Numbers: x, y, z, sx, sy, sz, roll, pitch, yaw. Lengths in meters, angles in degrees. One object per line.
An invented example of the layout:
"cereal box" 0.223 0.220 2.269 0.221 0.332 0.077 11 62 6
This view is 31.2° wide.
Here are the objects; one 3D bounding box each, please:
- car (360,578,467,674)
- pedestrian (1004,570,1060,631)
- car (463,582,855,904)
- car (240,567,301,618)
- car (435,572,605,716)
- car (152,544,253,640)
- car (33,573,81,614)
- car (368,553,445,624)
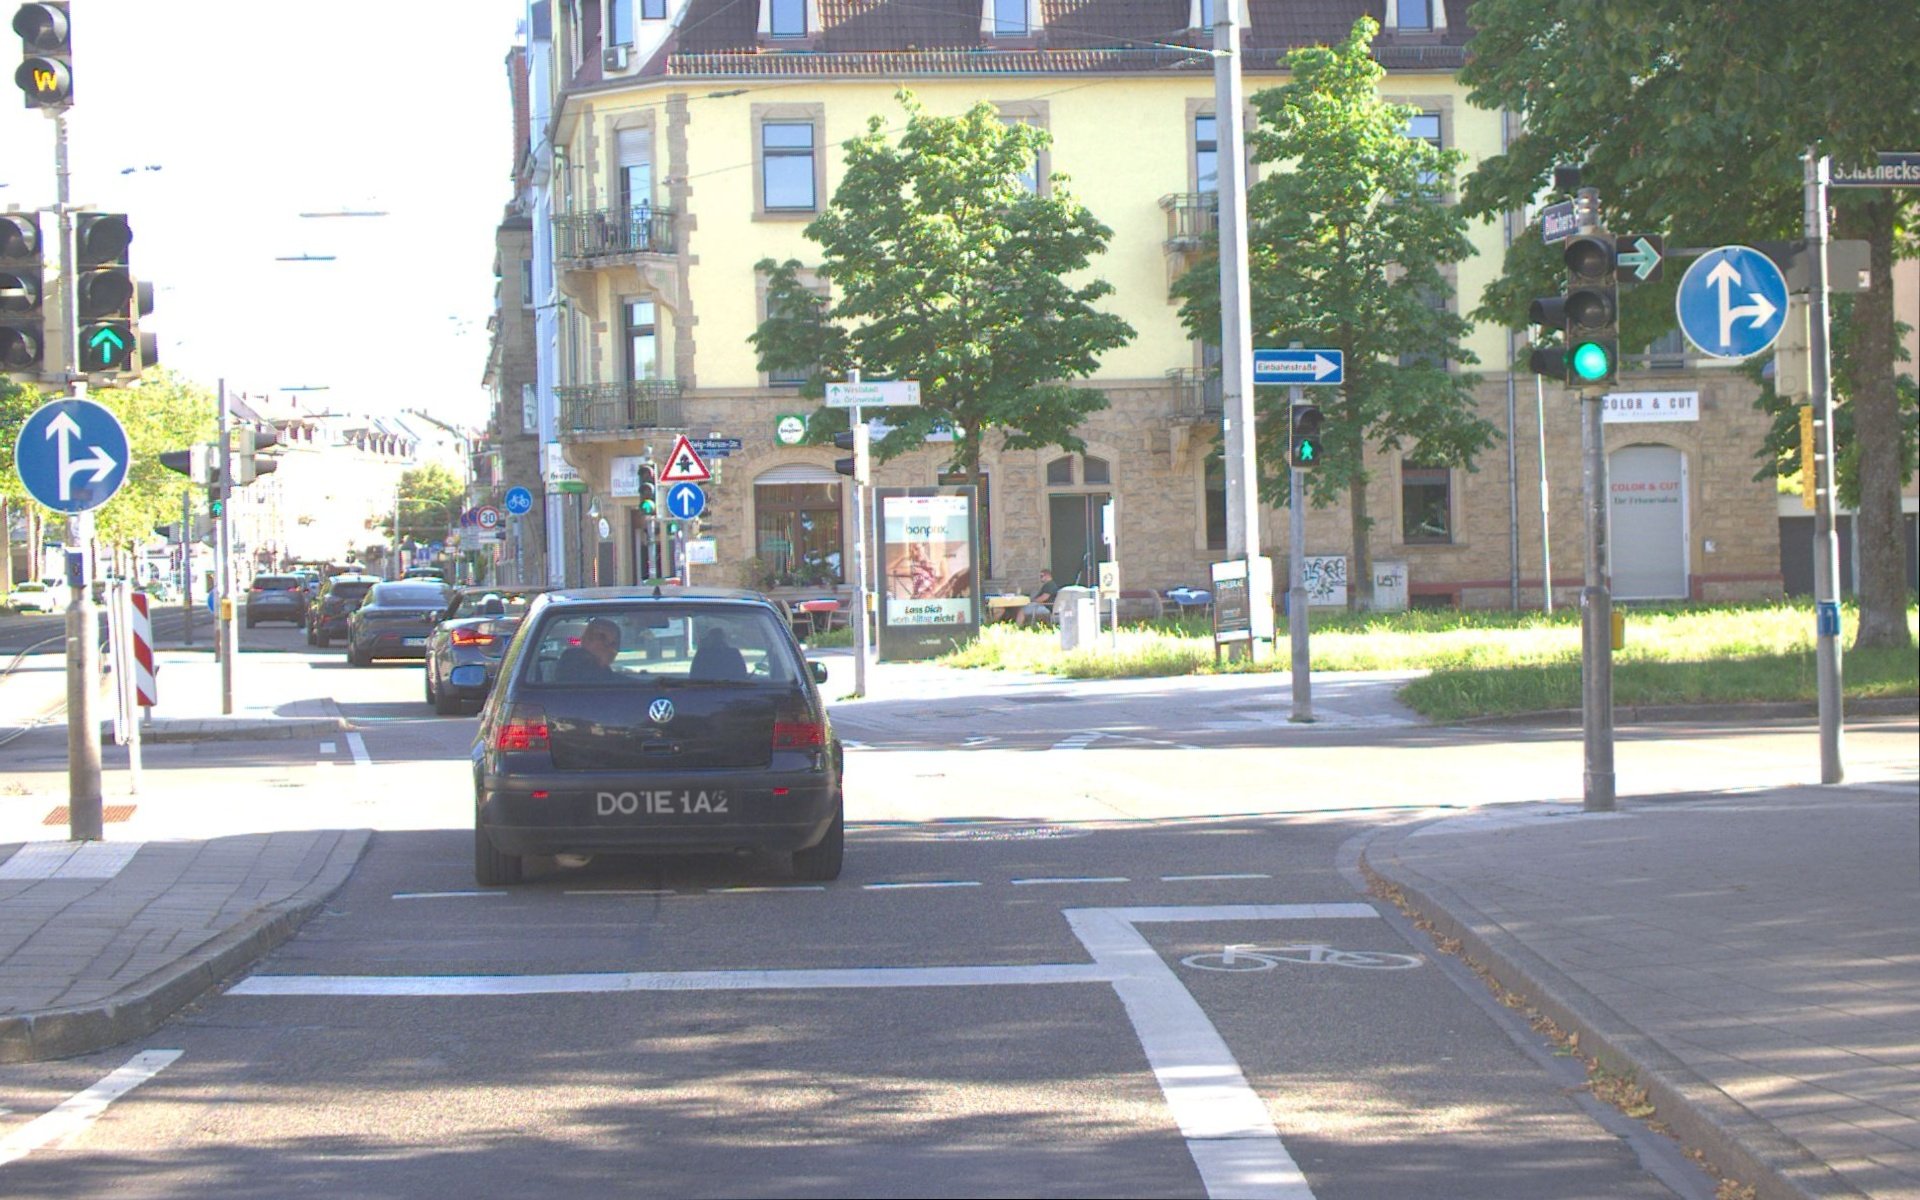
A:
"car" -8.961 0.397 56.232 1.569 1.306 3.648 -2 3 -11
"pedestrian" 1.456 0.006 69.471 0.979 1.183 0.743 -2 1 -9
"car" -1.509 0.613 17.105 1.715 1.398 4.007 0 0 -6
"car" -20.614 -0.241 102.847 1.680 1.448 3.380 -2 1 -10
"car" -4.647 0.420 36.168 1.634 1.367 3.758 -2 1 -8
"car" -15.211 -0.173 69.171 1.786 1.853 4.001 -1 1 -10
"car" -45.741 -0.337 174.197 1.993 2.007 4.001 -1 0 -10
"car" -11.986 -0.266 74.326 1.569 1.306 3.501 -2 3 -10
